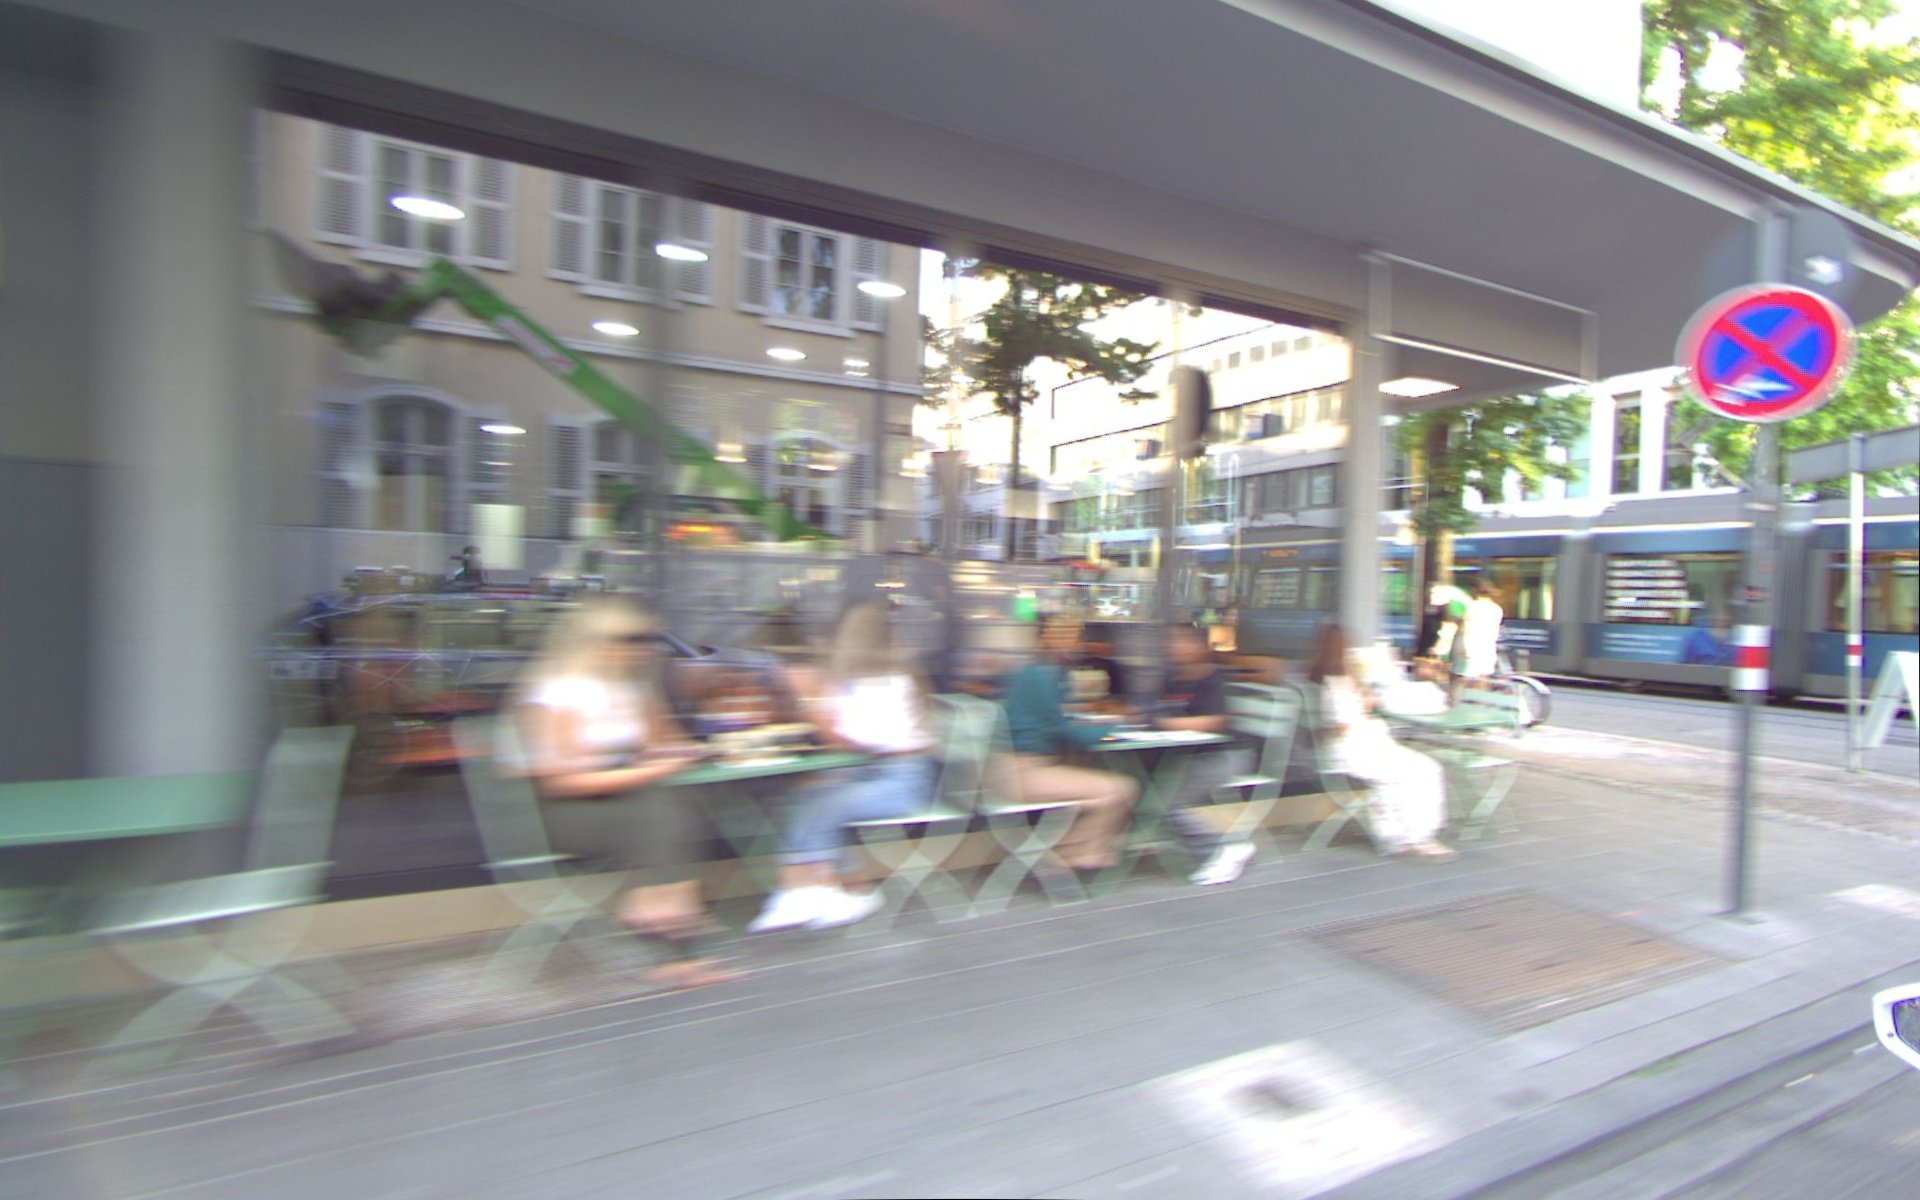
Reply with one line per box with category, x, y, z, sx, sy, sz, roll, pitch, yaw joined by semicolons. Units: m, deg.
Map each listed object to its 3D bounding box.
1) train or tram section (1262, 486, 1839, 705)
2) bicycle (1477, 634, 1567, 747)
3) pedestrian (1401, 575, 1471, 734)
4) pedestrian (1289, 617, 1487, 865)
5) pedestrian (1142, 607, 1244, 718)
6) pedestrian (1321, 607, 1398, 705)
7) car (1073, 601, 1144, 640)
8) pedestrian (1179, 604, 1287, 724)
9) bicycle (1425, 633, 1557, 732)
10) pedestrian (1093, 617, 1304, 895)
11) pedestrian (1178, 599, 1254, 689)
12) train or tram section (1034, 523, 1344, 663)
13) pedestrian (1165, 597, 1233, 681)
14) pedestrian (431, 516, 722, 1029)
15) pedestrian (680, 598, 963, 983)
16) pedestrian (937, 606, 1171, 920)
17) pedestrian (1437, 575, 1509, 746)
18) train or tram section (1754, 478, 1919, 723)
train or tram section;11.699;-0.070;21.828;2.977;3.570;10.759;2;0;-29
bicycle;6.477;0.988;11.527;0.767;1.154;1.862;1;-1;33
pedestrian;5.537;0.618;11.717;0.629;1.764;0.781;1;-1;19
pedestrian;2.329;0.730;5.560;0.825;1.235;0.706;2;1;8
pedestrian;2.923;0.769;12.651;0.876;1.337;0.876;2;-1;-26
pedestrian;5.941;0.822;14.963;0.686;1.395;0.787;2;-1;-27
car;6.786;0.884;45.650;1.843;1.584;4.336;0;1;28
pedestrian;3.183;0.726;11.741;0.839;1.337;0.876;2;-1;-25
bicycle;6.709;1.021;12.665;1.846;1.154;0.621;2;-1;-32
pedestrian;1.170;0.722;5.011;0.682;1.212;0.701;1;3;-26
pedestrian;4.063;0.684;15.988;0.709;1.380;0.918;2;-1;-27
train or tram section;6.489;-0.168;31.055;3.018;3.570;10.447;3;-1;-29
pedestrian;4.059;0.657;17.077;0.709;1.380;0.865;2;-1;-27
pedestrian;-1.332;0.531;3.547;0.848;1.568;0.703;1;1;-21
pedestrian;-0.532;0.656;3.990;0.695;1.303;0.857;2;1;37
pedestrian;0.412;0.685;4.616;0.767;1.256;0.701;1;4;-26
pedestrian;5.586;0.634;10.916;0.630;1.764;0.780;1;-1;30
train or tram section;16.776;0.074;12.617;2.981;3.570;10.323;2;-1;-28
